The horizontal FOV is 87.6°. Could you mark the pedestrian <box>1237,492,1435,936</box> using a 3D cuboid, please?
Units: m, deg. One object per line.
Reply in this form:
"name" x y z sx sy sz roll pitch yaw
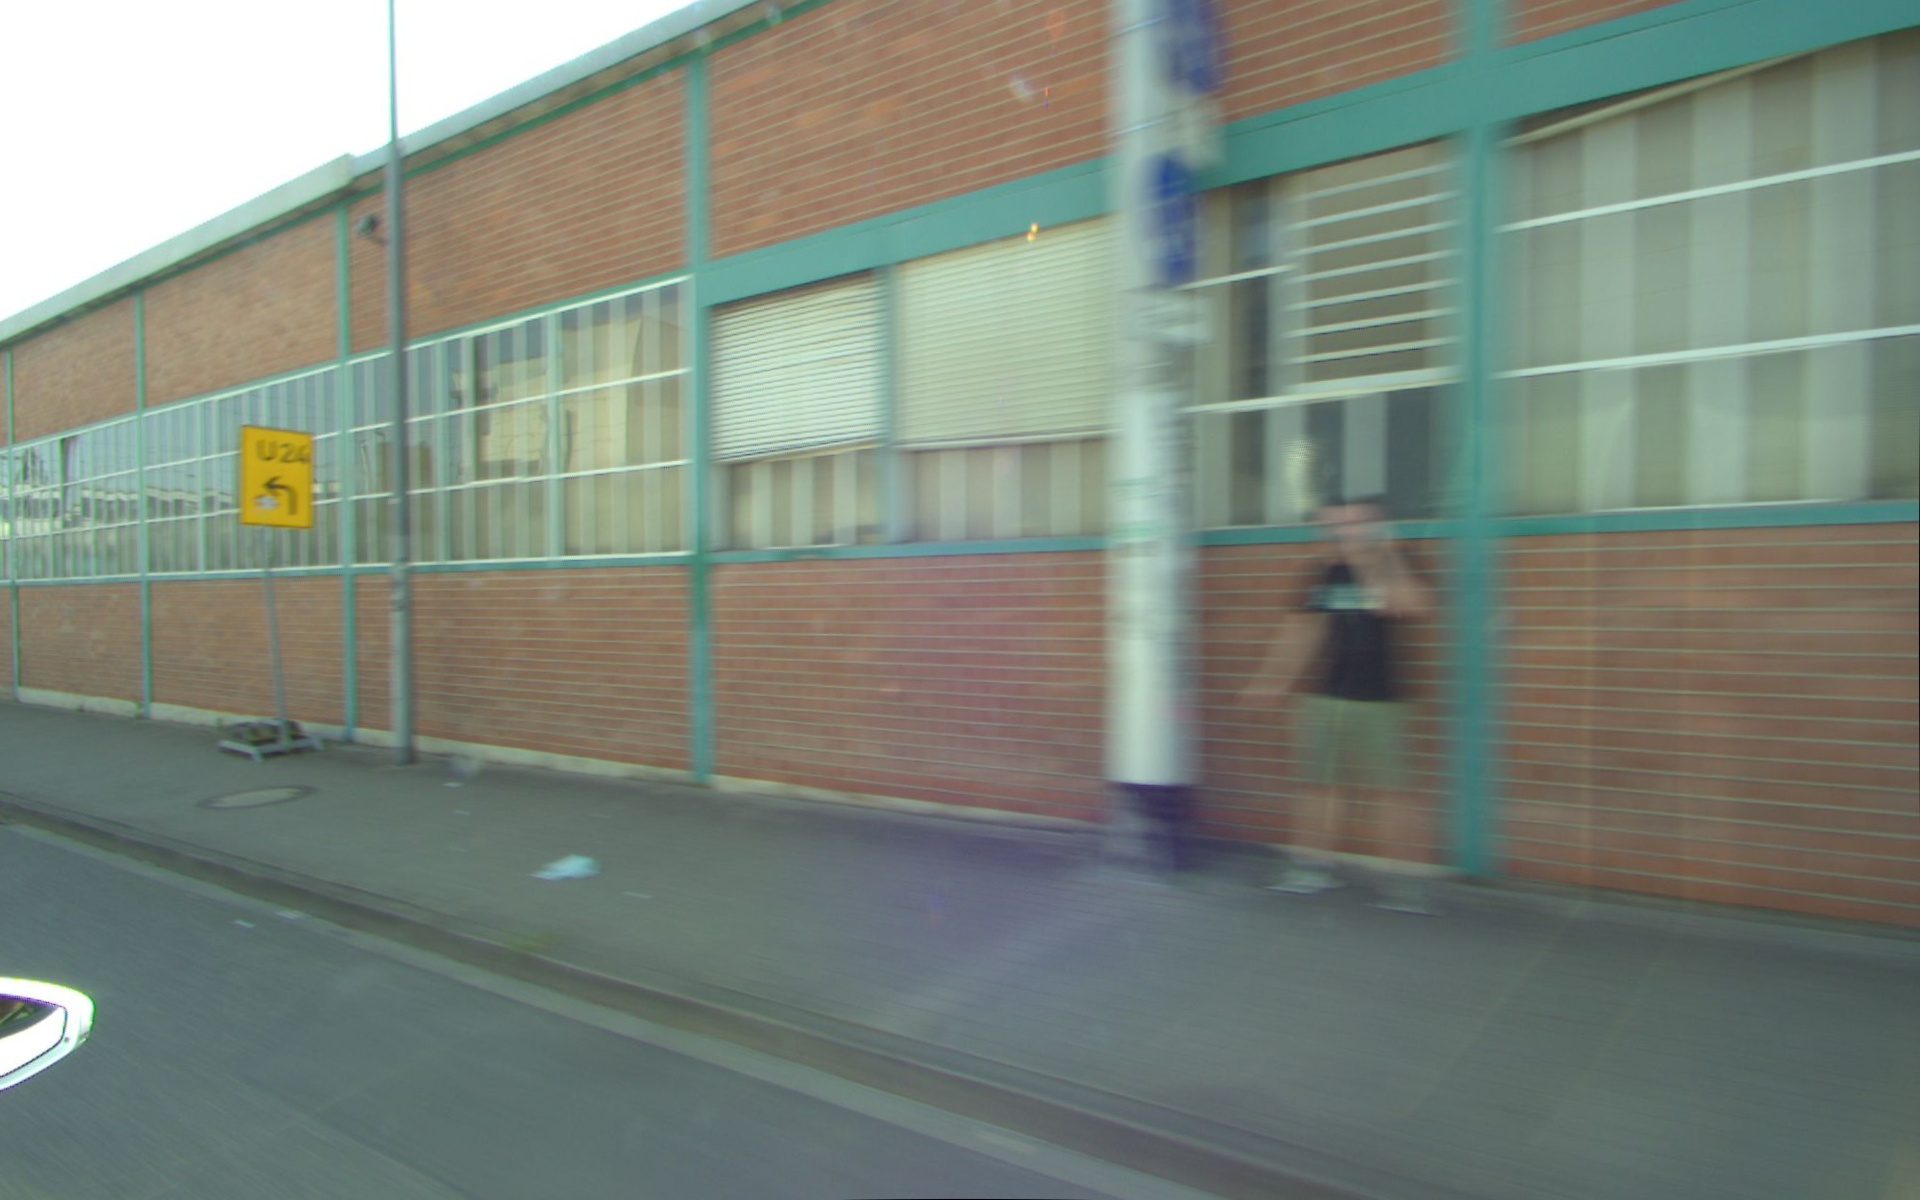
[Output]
"pedestrian" 1.648 0.454 4.391 0.676 1.789 0.447 3 2 32
